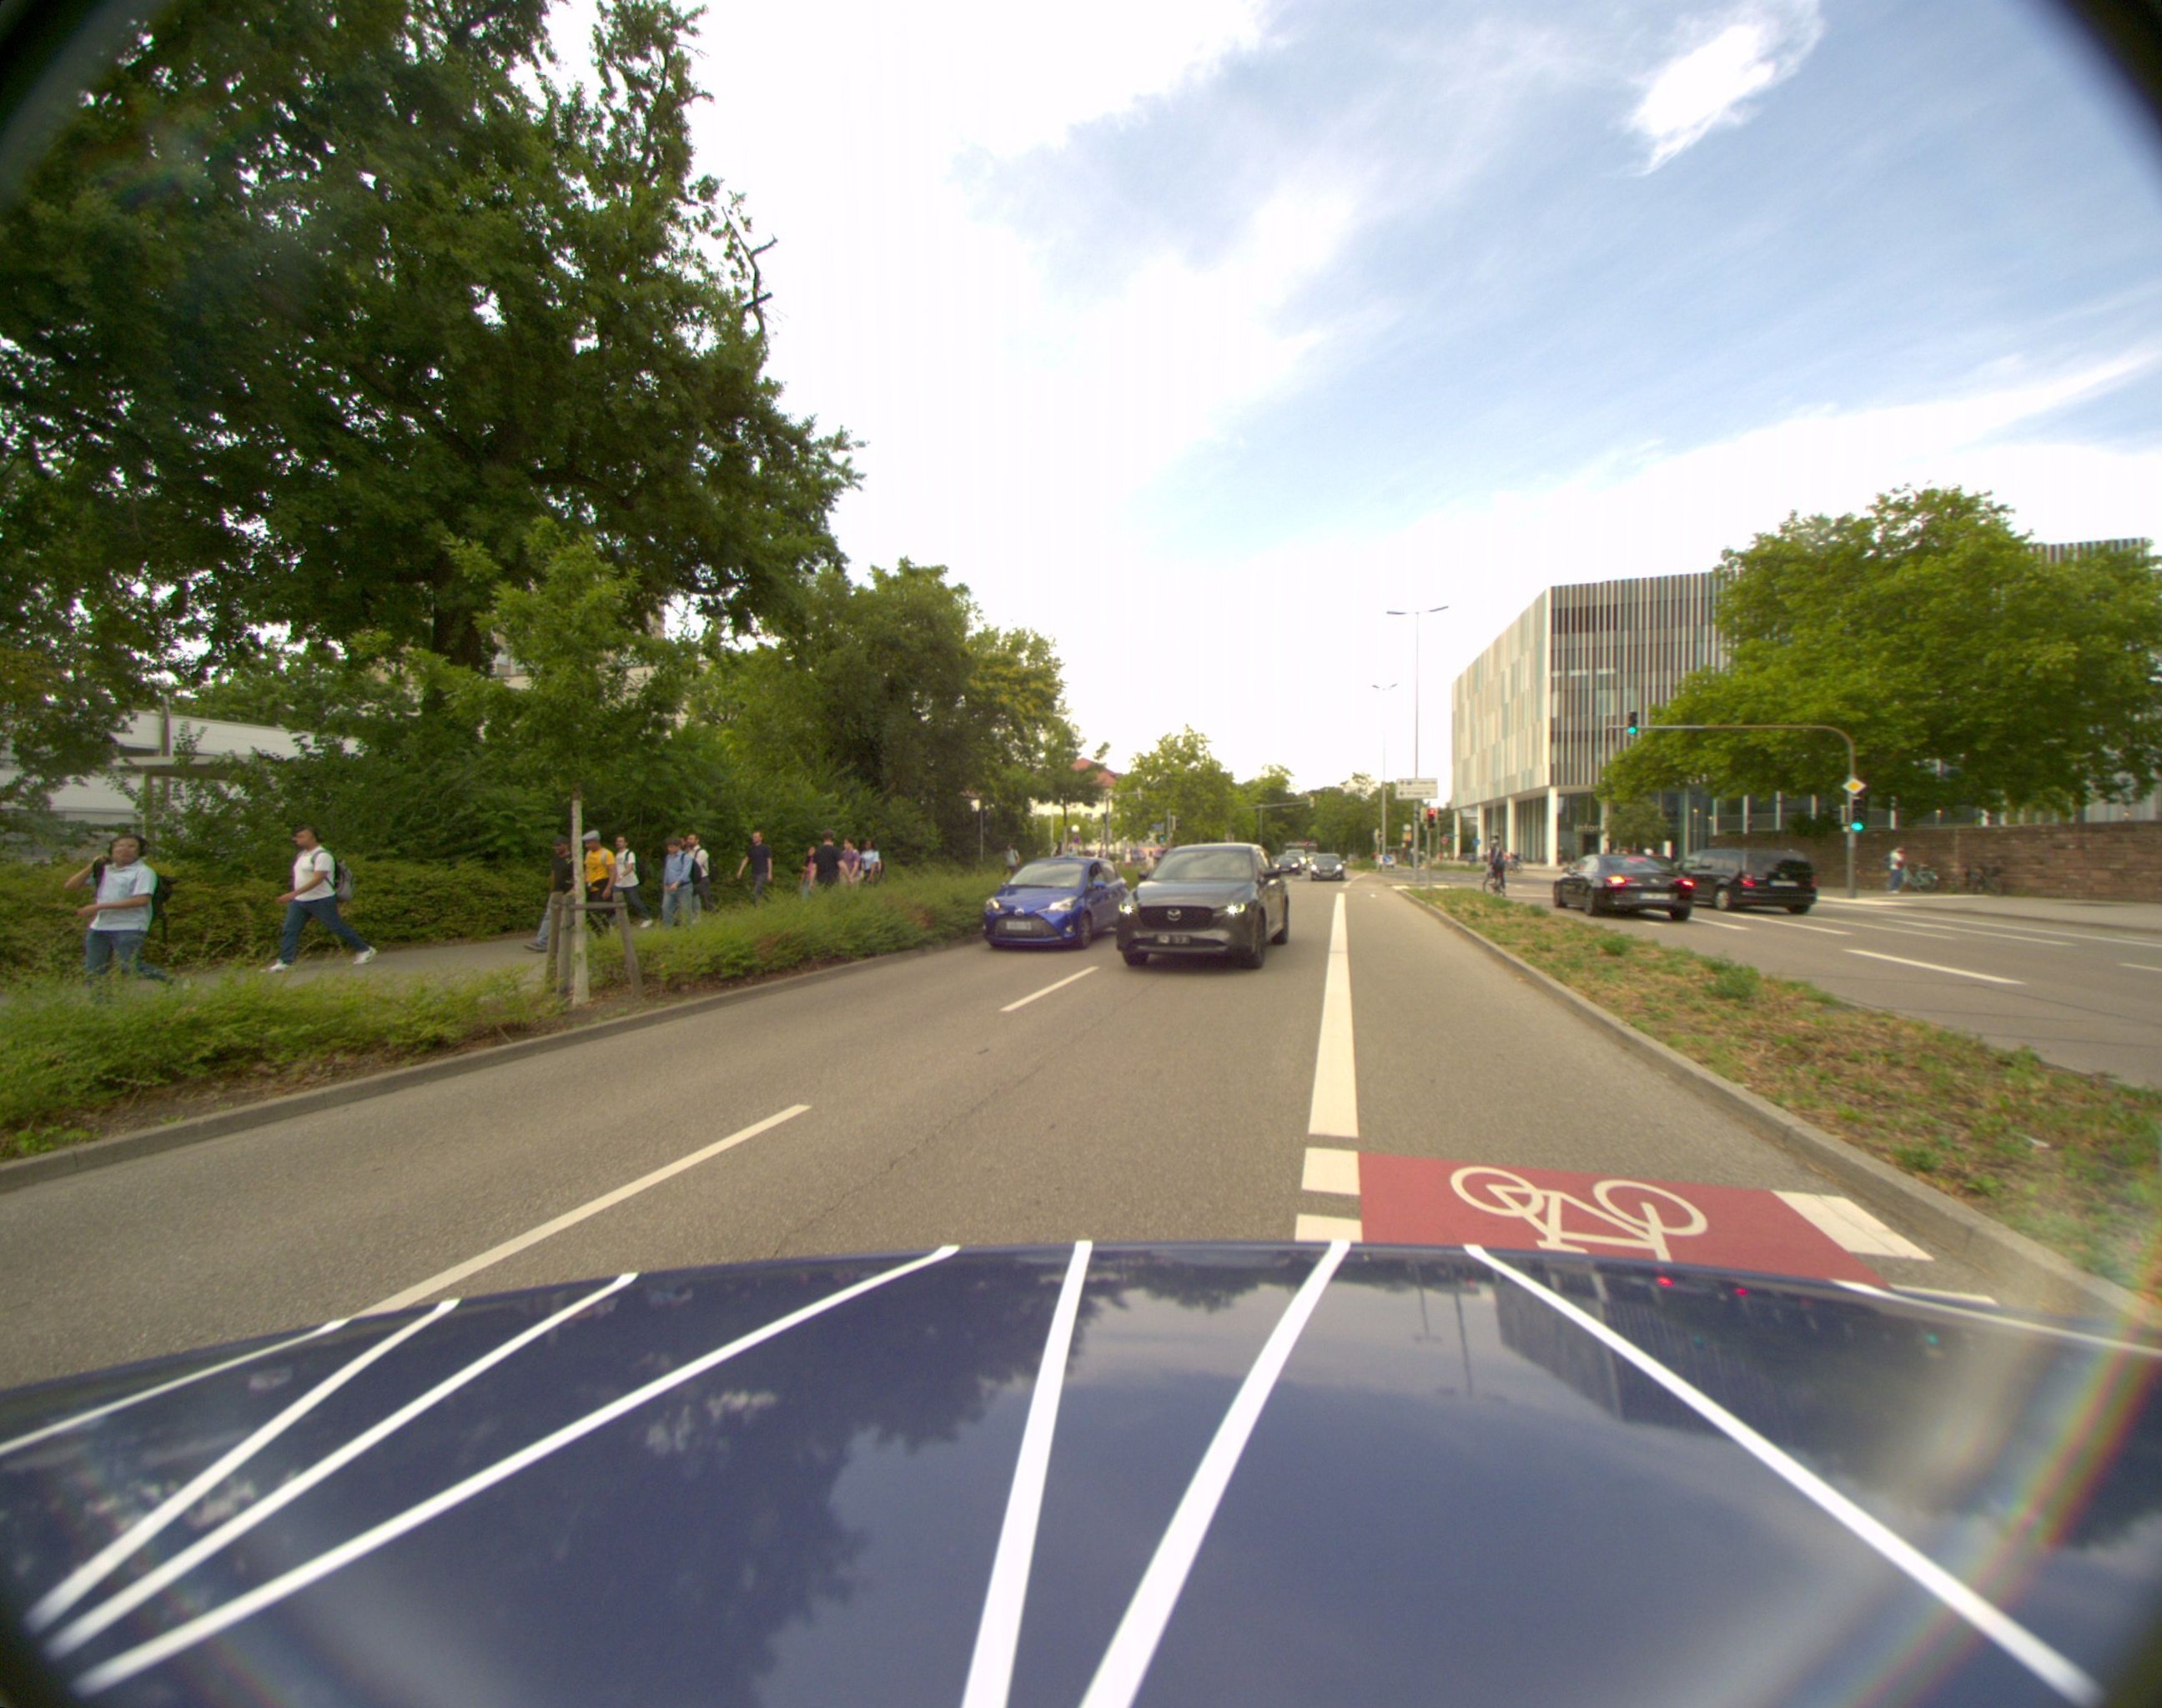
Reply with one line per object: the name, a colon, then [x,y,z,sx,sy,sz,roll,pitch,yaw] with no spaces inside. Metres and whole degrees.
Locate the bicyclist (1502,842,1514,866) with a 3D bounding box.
bicyclist: [33.398,0.008,59.418,0.601,1.796,0.562,-2,1,2]

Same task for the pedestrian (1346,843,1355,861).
pedestrian: [27.392,-0.231,77.204,0.726,1.843,1.065,0,1,14]

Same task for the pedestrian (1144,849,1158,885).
pedestrian: [3.282,0.620,35.598,0.546,1.677,0.637,0,1,16]

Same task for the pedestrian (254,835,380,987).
pedestrian: [-9.170,0.645,9.138,0.722,1.734,0.813,0,1,19]

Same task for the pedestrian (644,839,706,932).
pedestrian: [-7.615,0.568,14.269,0.657,1.689,0.781,0,1,17]

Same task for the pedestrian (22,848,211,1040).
pedestrian: [-8.590,0.742,6.796,0.776,1.593,0.813,0,1,19]

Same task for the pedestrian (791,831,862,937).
pedestrian: [-4.568,0.508,13.647,0.889,1.820,0.934,-1,1,-44]

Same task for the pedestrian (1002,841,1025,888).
pedestrian: [-2.573,0.394,29.110,0.645,1.785,0.741,0,1,16]

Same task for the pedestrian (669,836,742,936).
pedestrian: [-6.925,0.576,14.056,0.657,1.756,0.959,-2,0,17]

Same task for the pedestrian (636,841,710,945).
pedestrian: [-6.612,0.607,12.350,0.657,1.639,0.813,0,1,17]

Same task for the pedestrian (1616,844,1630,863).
pedestrian: [47.218,-0.036,66.213,0.731,1.591,0.677,-1,1,-15]

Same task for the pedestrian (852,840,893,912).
pedestrian: [-5.188,0.533,18.934,0.657,1.735,0.781,0,1,17]

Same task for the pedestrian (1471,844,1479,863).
pedestrian: [38.535,-0.010,74.287,0.511,1.826,0.625,0,0,15]

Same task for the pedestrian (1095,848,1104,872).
pedestrian: [1.520,0.486,61.091,0.646,1.842,0.829,-1,1,4]

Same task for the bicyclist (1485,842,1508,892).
bicyclist: [13.178,0.410,24.095,0.572,1.565,0.700,0,1,23]

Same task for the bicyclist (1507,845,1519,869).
bicyclist: [32.956,0.205,57.953,0.601,1.796,0.562,0,1,0]

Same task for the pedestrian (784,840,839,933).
pedestrian: [-5.178,0.609,14.615,0.657,1.735,0.781,0,1,17]

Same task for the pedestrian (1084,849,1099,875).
pedestrian: [0.720,0.548,53.205,0.768,1.794,0.893,-1,1,20]

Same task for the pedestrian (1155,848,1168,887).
pedestrian: [3.599,0.605,33.967,0.454,1.725,0.637,0,1,16]

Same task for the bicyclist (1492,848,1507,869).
bicyclist: [33.803,0.371,61.392,0.728,1.663,0.724,-2,1,2]

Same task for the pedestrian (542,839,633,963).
pedestrian: [-6.969,0.637,10.767,0.657,1.680,0.843,0,1,17]

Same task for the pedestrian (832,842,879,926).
pedestrian: [-4.795,0.617,16.183,0.625,1.735,0.781,0,1,17]

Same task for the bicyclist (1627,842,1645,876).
bicyclist: [29.459,0.242,40.329,0.618,1.772,0.812,0,1,23]

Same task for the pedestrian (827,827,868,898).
pedestrian: [-5.858,0.209,19.059,0.657,1.735,0.781,0,1,17]

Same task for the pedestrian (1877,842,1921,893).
pedestrian: [29.072,0.475,27.022,0.747,1.772,0.782,-1,2,-16]

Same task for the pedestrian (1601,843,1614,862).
pedestrian: [46.635,-0.125,67.302,0.731,1.730,0.677,-1,1,-18]

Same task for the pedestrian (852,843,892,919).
pedestrian: [-4.892,0.622,17.824,0.582,1.735,0.790,0,1,17]

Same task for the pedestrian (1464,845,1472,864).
pedestrian: [37.917,0.074,74.435,0.511,1.826,0.773,0,0,15]

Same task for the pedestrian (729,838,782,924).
pedestrian: [-6.765,0.550,15.829,0.657,1.735,0.781,0,1,17]

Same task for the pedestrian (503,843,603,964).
pedestrian: [-7.562,0.669,10.923,0.657,1.657,0.972,0,1,17]
